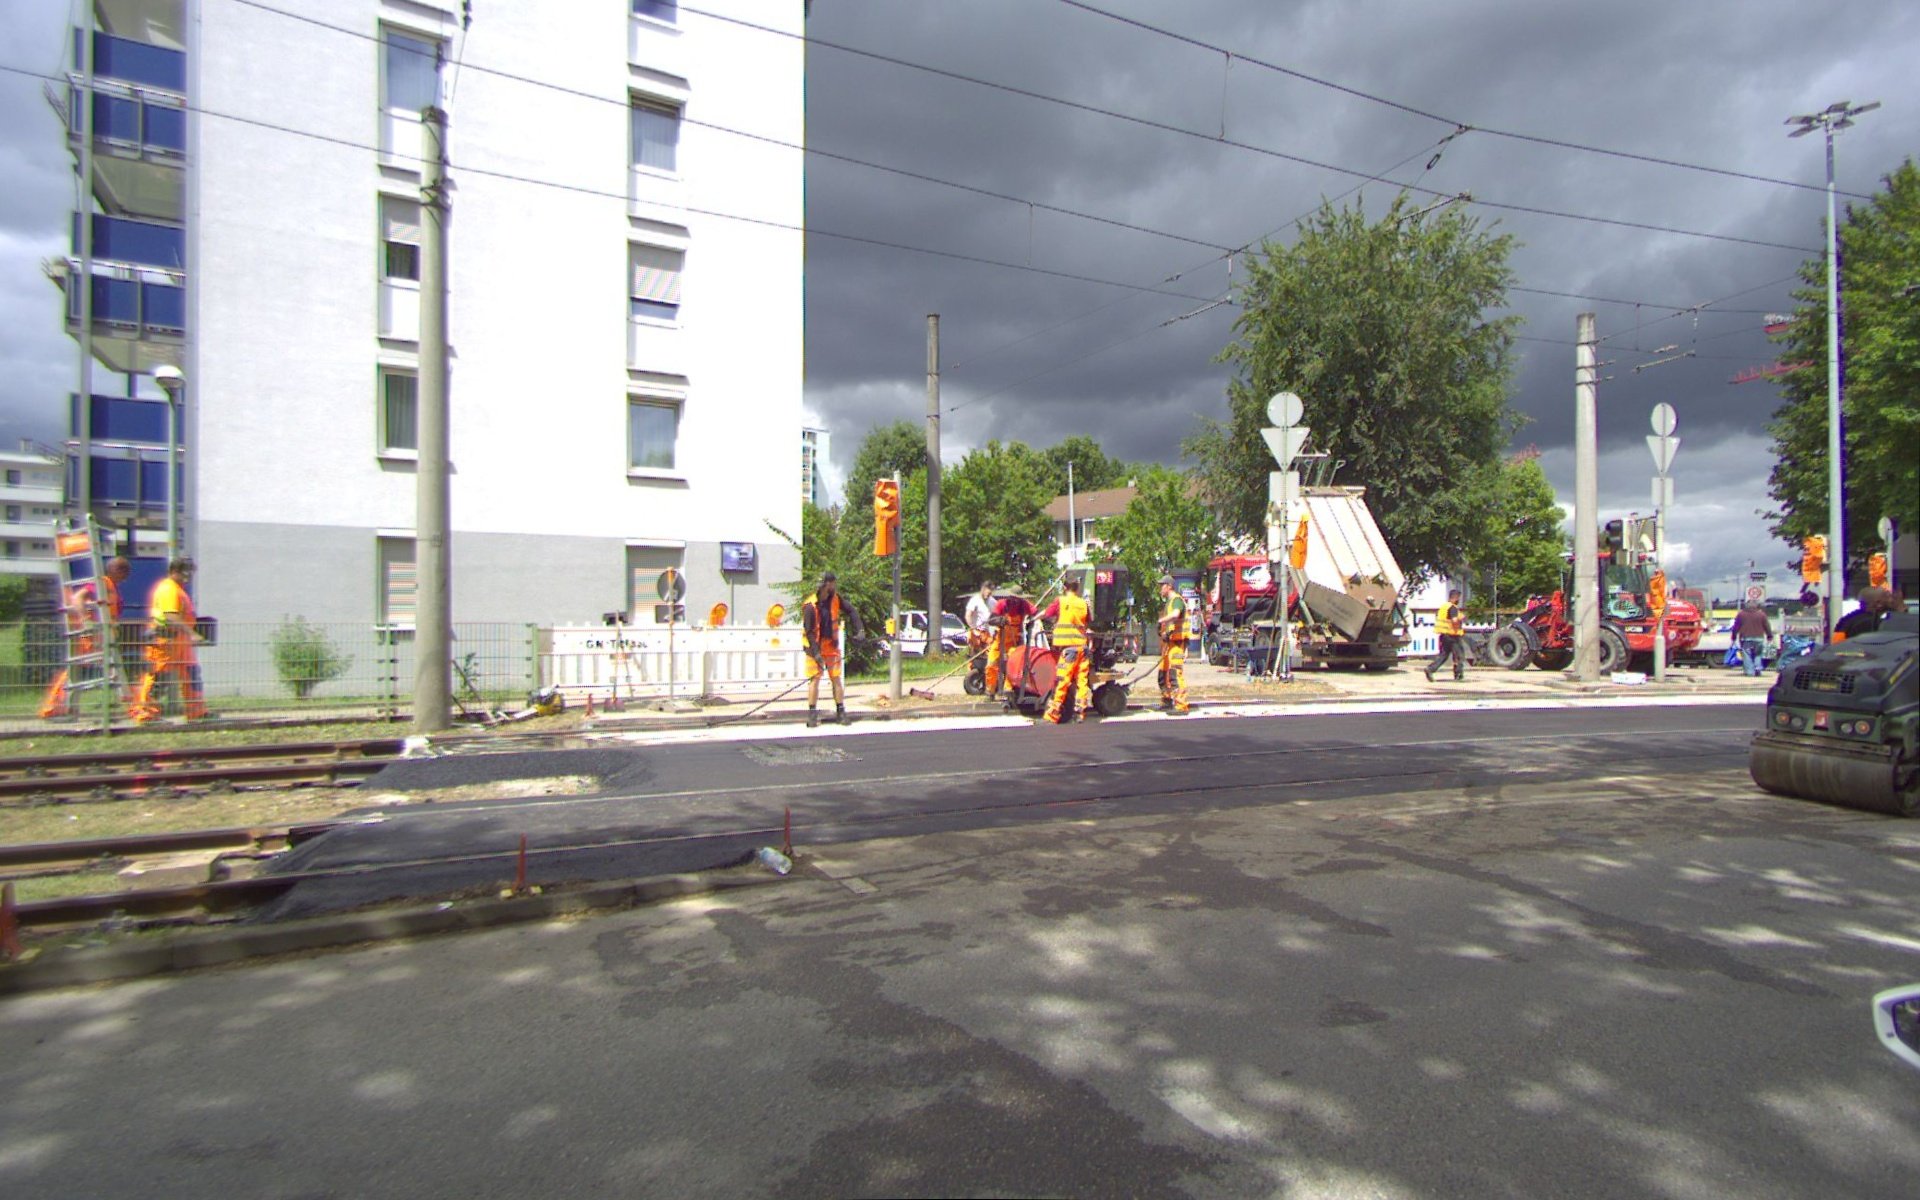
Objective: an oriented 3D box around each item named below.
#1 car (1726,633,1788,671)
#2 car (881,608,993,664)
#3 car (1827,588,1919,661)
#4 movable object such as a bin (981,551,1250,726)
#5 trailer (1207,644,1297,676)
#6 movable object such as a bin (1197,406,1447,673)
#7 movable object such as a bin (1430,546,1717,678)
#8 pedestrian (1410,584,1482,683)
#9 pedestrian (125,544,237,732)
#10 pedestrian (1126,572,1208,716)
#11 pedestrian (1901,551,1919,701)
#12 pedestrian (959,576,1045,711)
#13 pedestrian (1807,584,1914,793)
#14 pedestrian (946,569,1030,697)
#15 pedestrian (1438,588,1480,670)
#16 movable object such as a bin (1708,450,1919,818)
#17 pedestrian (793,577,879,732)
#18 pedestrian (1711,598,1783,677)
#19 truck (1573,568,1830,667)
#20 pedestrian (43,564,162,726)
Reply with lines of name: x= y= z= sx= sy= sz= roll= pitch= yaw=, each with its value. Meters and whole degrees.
car: x=32.678 y=2.083 z=41.153 sx=1.752 sy=1.478 sz=3.856 roll=-1 pitch=-2 yaw=42
car: x=-0.903 y=1.294 z=37.097 sx=1.983 sy=1.906 sz=4.295 roll=1 pitch=-1 yaw=-38
car: x=26.721 y=0.682 z=26.895 sx=1.988 sy=1.912 sz=5.180 roll=4 pitch=-4 yaw=-45
movable object such as a bin: x=1.999 y=0.484 z=13.231 sx=2.924 sy=2.040 sz=1.990 roll=1 pitch=-1 yaw=-22
trailer: x=5.879 y=1.197 z=20.259 sx=1.567 sy=0.624 sz=0.796 roll=0 pitch=-2 yaw=-7
movable object such as a bin: x=8.618 y=-1.125 z=25.491 sx=2.766 sy=5.557 sz=9.035 roll=0 pitch=-2 yaw=-2
movable object such as a bin: x=14.119 y=0.272 z=23.602 sx=2.087 sy=2.704 sz=5.553 roll=1 pitch=-1 yaw=-25
pedestrian: x=9.368 y=0.633 z=19.379 sx=0.954 sy=1.857 sz=0.794 roll=1 pitch=0 yaw=-11
pedestrian: x=-8.372 y=0.401 z=10.831 sx=0.871 sy=1.933 sz=0.661 roll=1 pitch=0 yaw=-34
pedestrian: x=2.797 y=0.583 z=13.590 sx=0.760 sy=1.863 sz=0.777 roll=1 pitch=-1 yaw=-33
pedestrian: x=8.222 y=0.213 z=8.221 sx=0.608 sy=1.232 sz=0.548 roll=0 pitch=-1 yaw=-20
pedestrian: x=0.552 y=0.566 z=13.547 sx=0.905 sy=1.739 sz=0.856 roll=0 pitch=0 yaw=-20
pedestrian: x=7.645 y=0.721 z=8.533 sx=0.552 sy=1.704 sz=0.467 roll=1 pitch=1 yaw=-28
pedestrian: x=0.408 y=0.488 z=15.110 sx=0.863 sy=1.848 sz=1.089 roll=1 pitch=-1 yaw=-27
pedestrian: x=11.255 y=0.638 z=22.644 sx=0.605 sy=1.812 sz=0.578 roll=-1 pitch=0 yaw=-27
movable object such as a bin: x=7.579 y=0.255 z=8.155 sx=2.325 sy=2.628 sz=1.316 roll=0 pitch=0 yaw=-18
pedestrian: x=-1.460 y=0.608 z=11.741 sx=0.903 sy=1.739 sz=0.751 roll=0 pitch=0 yaw=-14
pedestrian: x=17.260 y=0.799 z=22.037 sx=0.862 sy=1.682 sz=0.924 roll=0 pitch=-1 yaw=-23
truck: x=21.372 y=0.603 z=29.308 sx=2.387 sy=2.602 sz=5.549 roll=1 pitch=-3 yaw=-26
pedestrian: x=-9.432 y=0.482 z=11.084 sx=0.871 sy=1.705 sz=0.661 roll=1 pitch=0 yaw=-31
